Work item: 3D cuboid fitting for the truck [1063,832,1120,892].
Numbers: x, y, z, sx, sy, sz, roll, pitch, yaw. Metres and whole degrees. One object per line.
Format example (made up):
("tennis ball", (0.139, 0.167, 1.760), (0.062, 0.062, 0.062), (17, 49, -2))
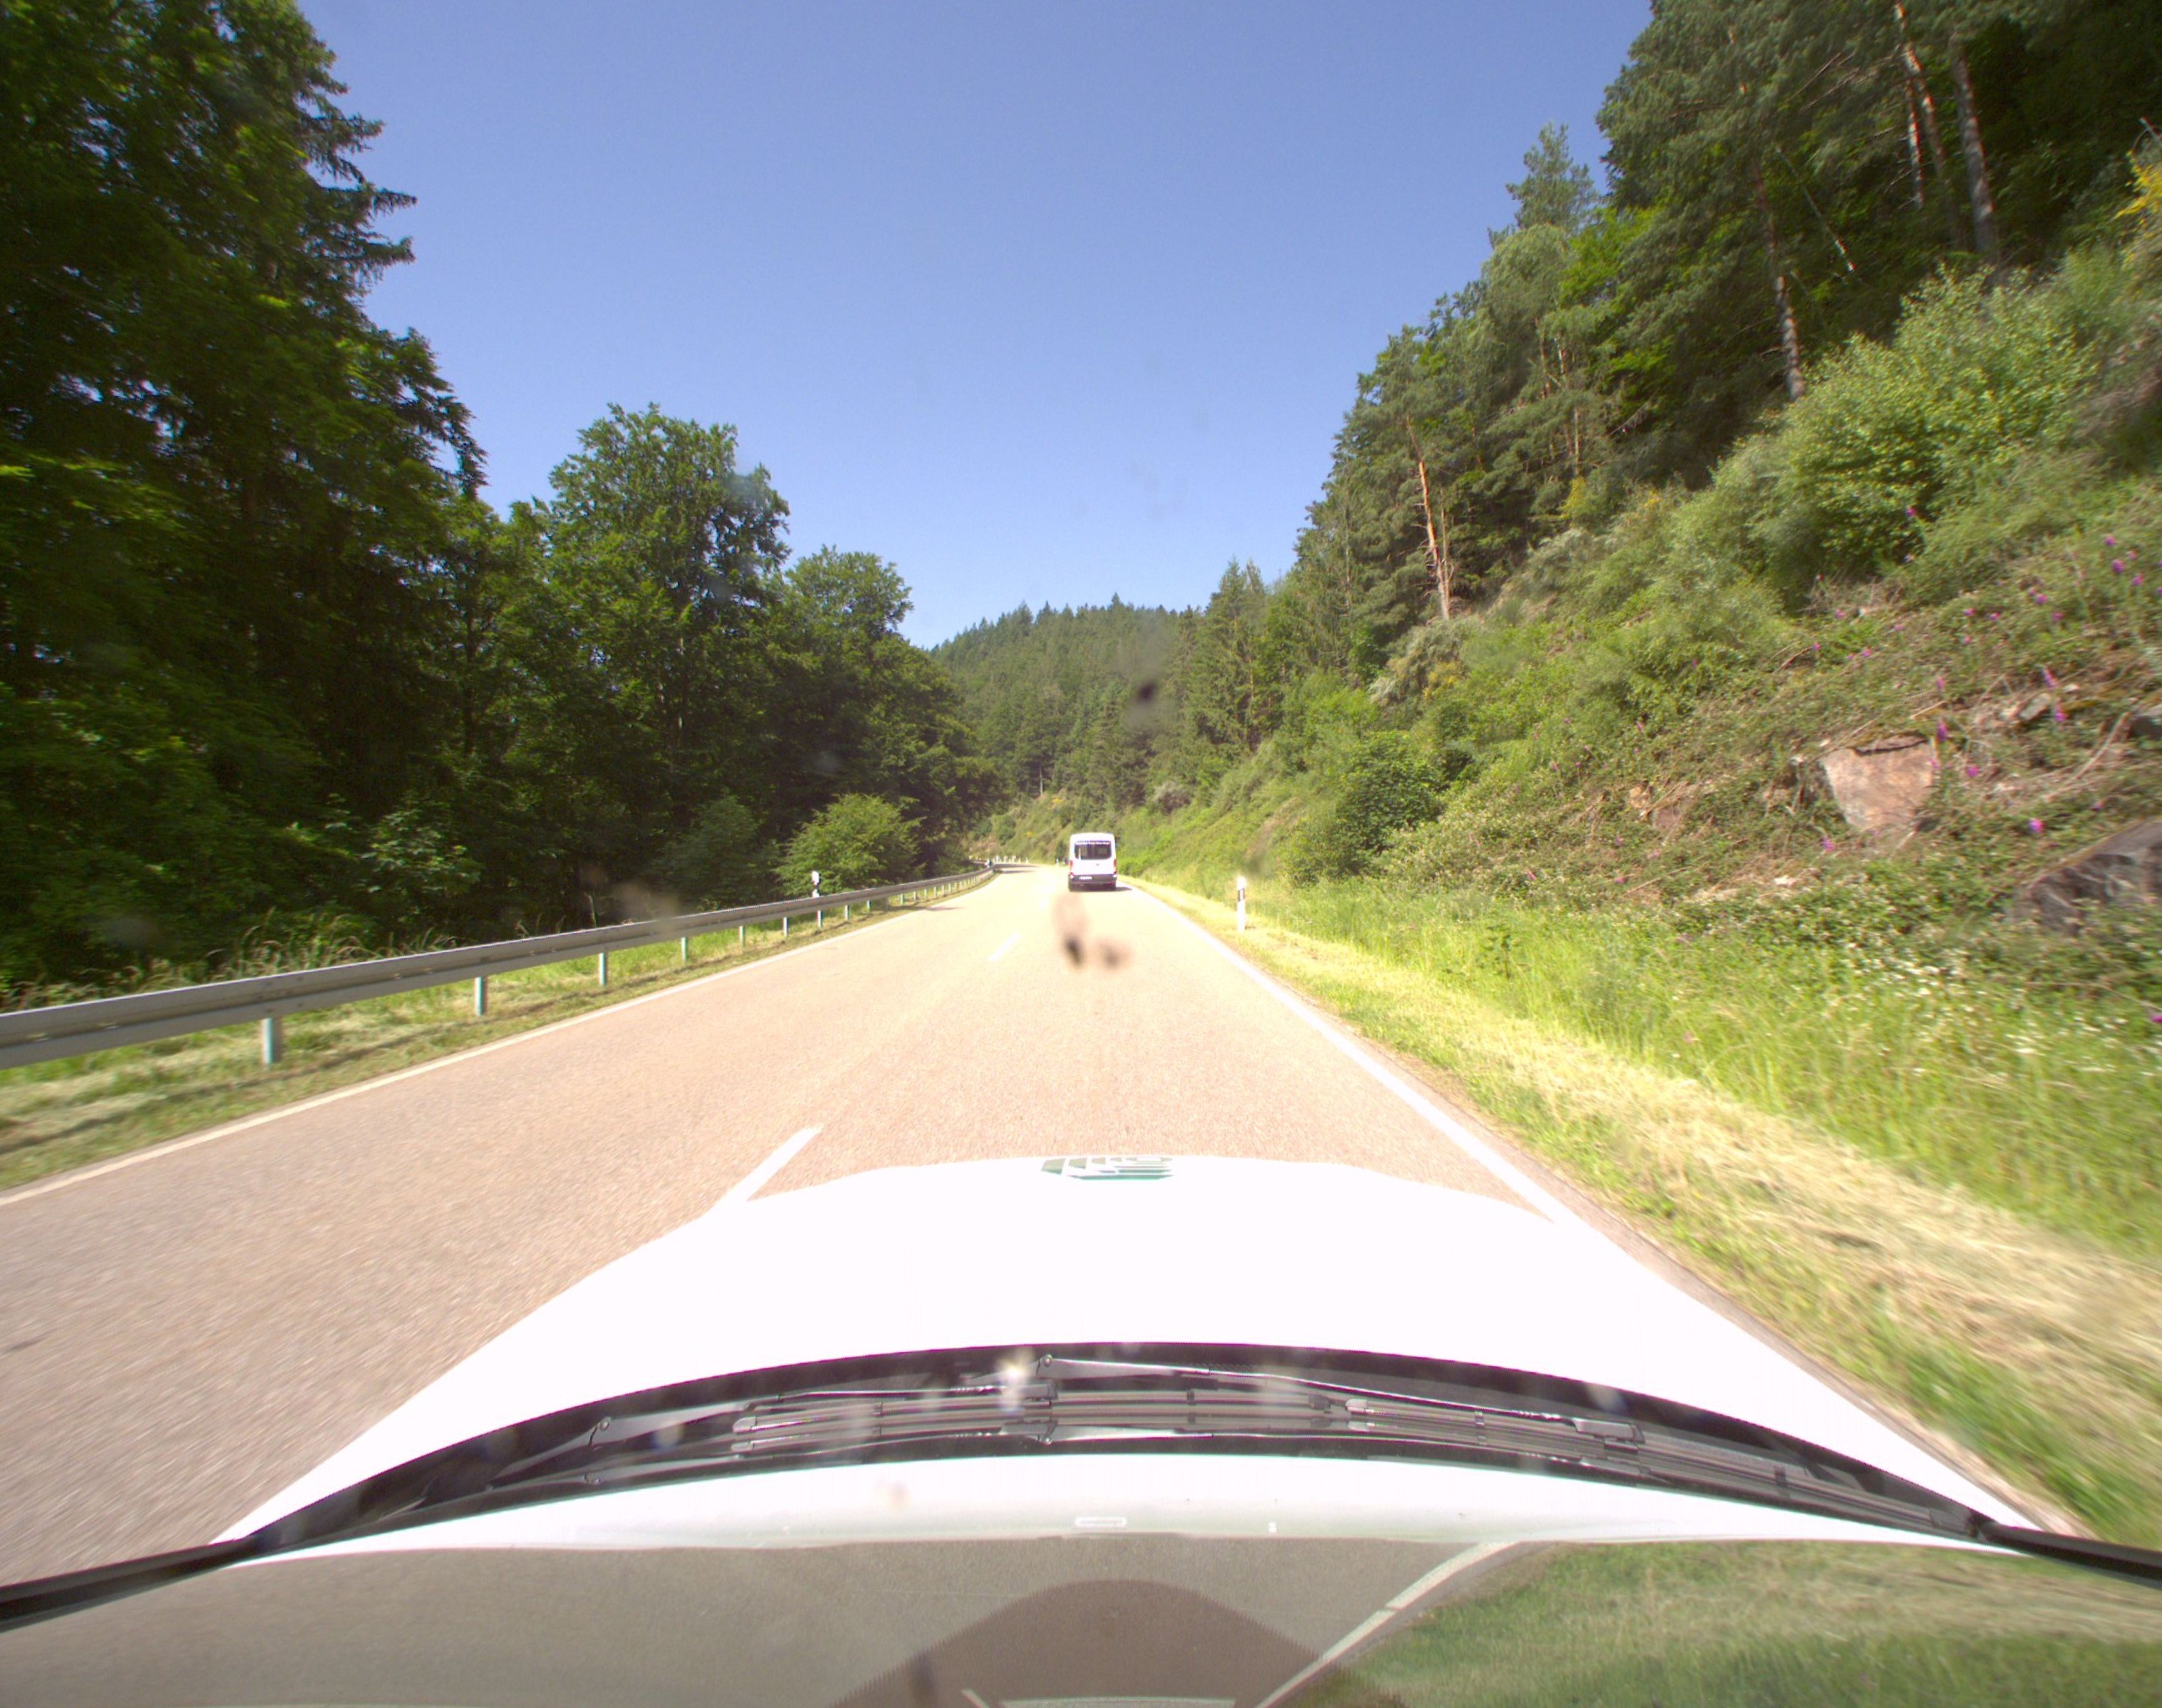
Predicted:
("truck", (0.385, 0.315, 36.079), (2.080, 2.459, 4.867), (-1, 0, -4))
